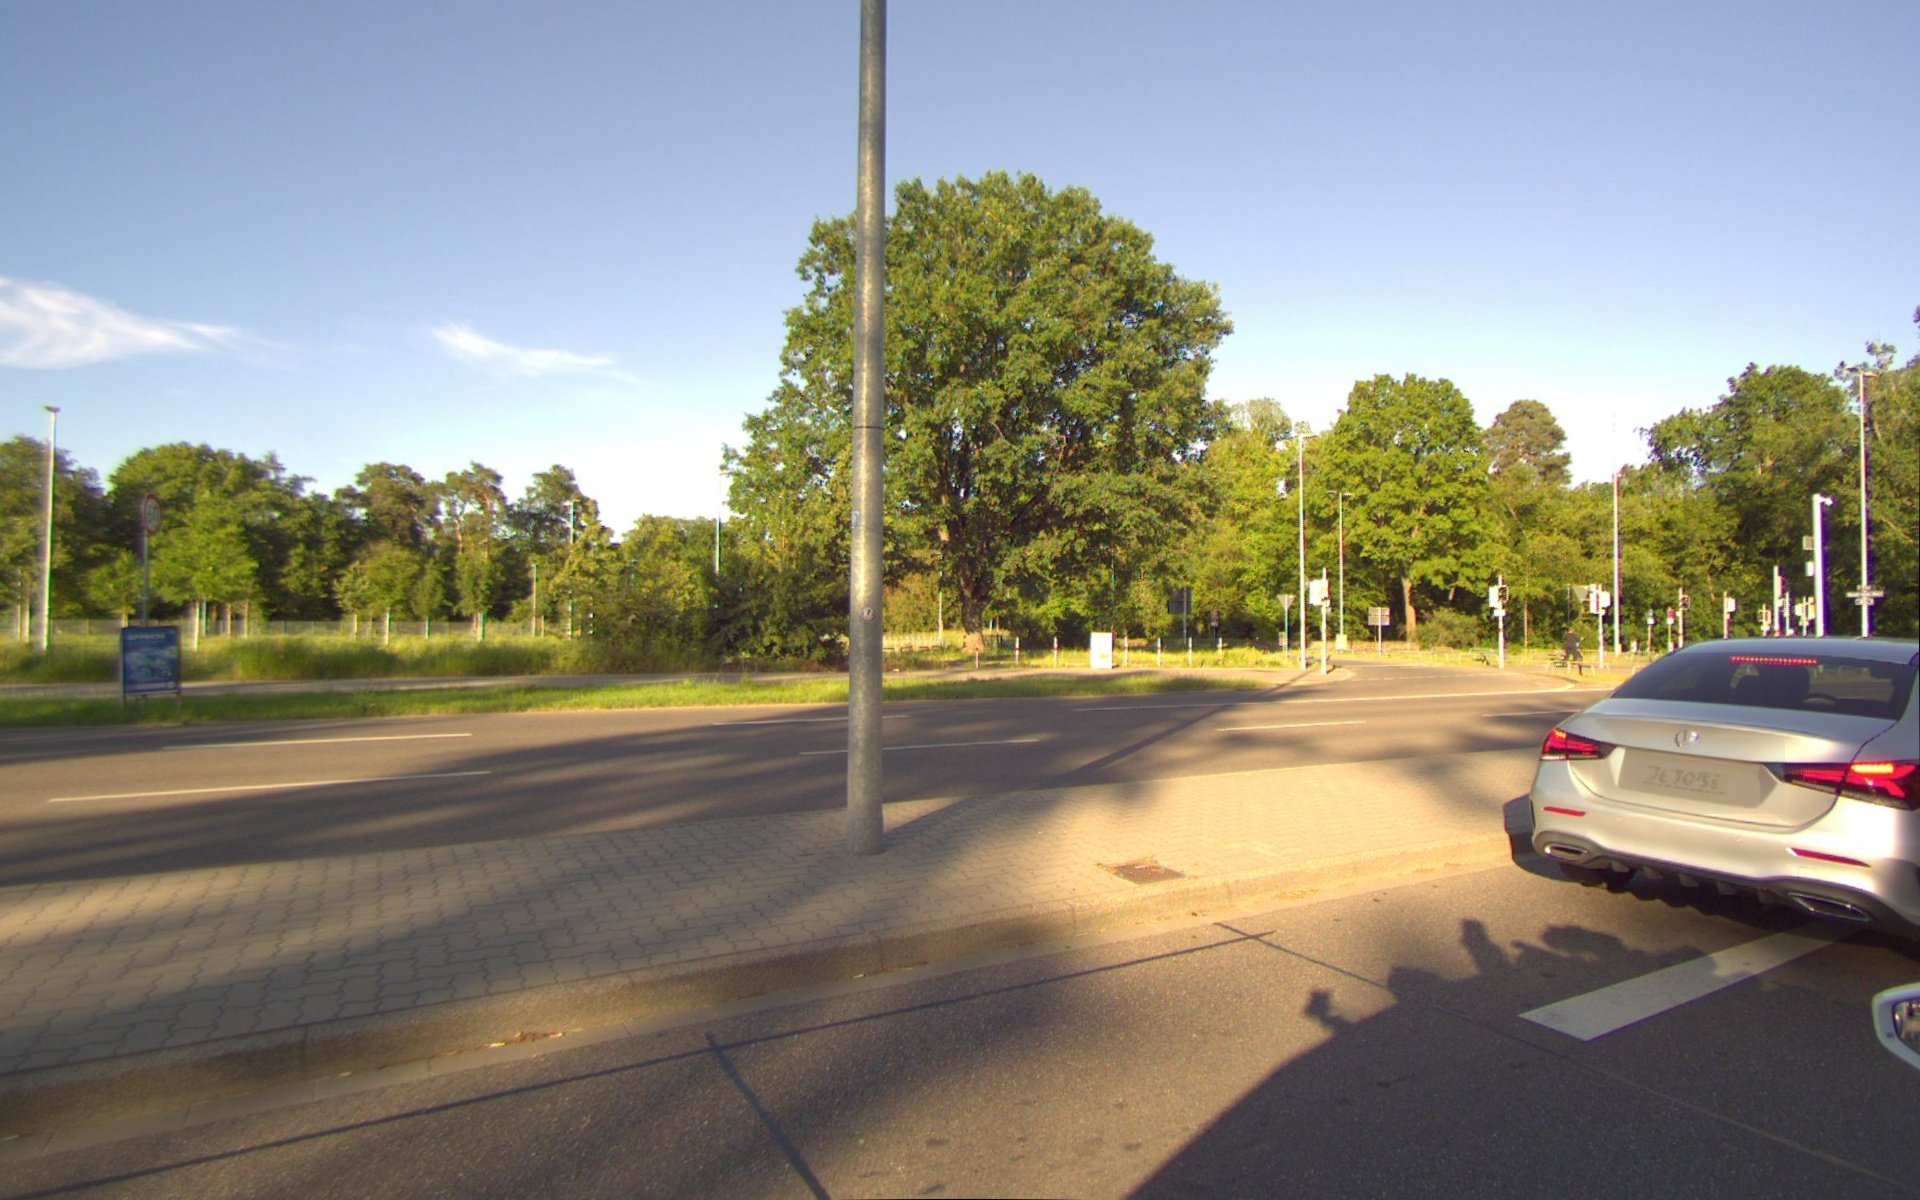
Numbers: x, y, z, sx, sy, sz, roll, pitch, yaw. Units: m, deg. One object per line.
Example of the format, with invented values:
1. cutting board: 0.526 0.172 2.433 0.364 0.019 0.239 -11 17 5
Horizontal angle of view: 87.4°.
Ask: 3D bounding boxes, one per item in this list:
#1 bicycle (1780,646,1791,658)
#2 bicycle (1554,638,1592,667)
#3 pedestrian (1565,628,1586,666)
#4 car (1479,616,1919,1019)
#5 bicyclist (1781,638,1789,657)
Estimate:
1. bicycle: 44.252 2.783 53.858 0.831 0.589 0.264 2 0 -36
2. bicycle: 26.122 2.246 42.795 1.980 1.193 0.466 2 0 -31
3. pedestrian: 26.263 1.993 42.863 0.641 1.583 0.479 2 0 -30
4. car: 4.996 0.849 5.575 4.227 1.463 1.776 1 0 -30
5. bicyclist: 44.211 2.533 53.829 0.238 0.975 0.271 2 0 -35
